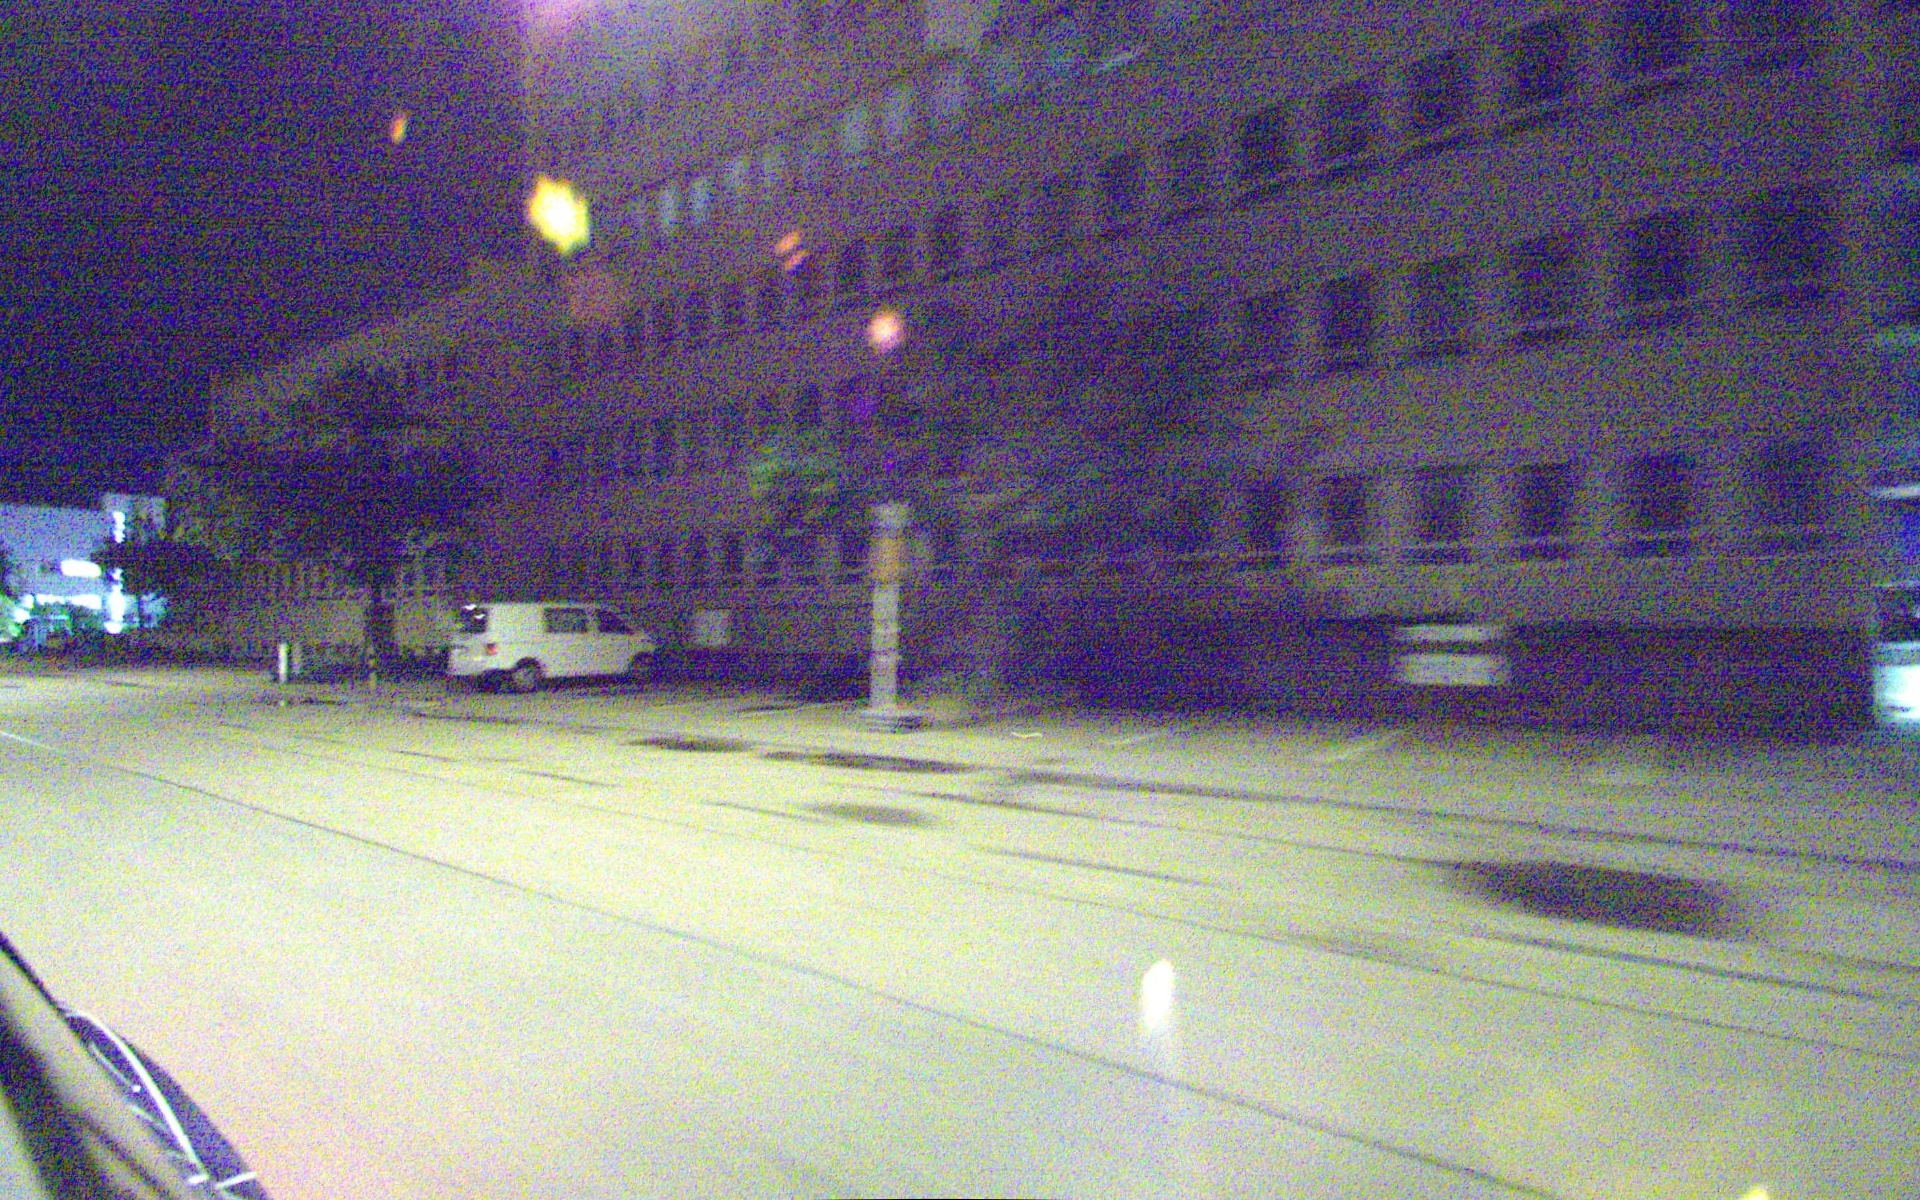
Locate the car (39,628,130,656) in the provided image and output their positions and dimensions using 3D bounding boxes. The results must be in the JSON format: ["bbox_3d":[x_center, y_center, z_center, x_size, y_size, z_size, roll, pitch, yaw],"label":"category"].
[{"bbox_3d":[-54.805,2.630,63.402,1.801,1.474,3.954,-2,1,34],"label":"car"}]

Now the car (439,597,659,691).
[{"bbox_3d":[-9.461,0.988,23.611,1.996,1.987,4.391,-2,-2,36],"label":"car"}]
